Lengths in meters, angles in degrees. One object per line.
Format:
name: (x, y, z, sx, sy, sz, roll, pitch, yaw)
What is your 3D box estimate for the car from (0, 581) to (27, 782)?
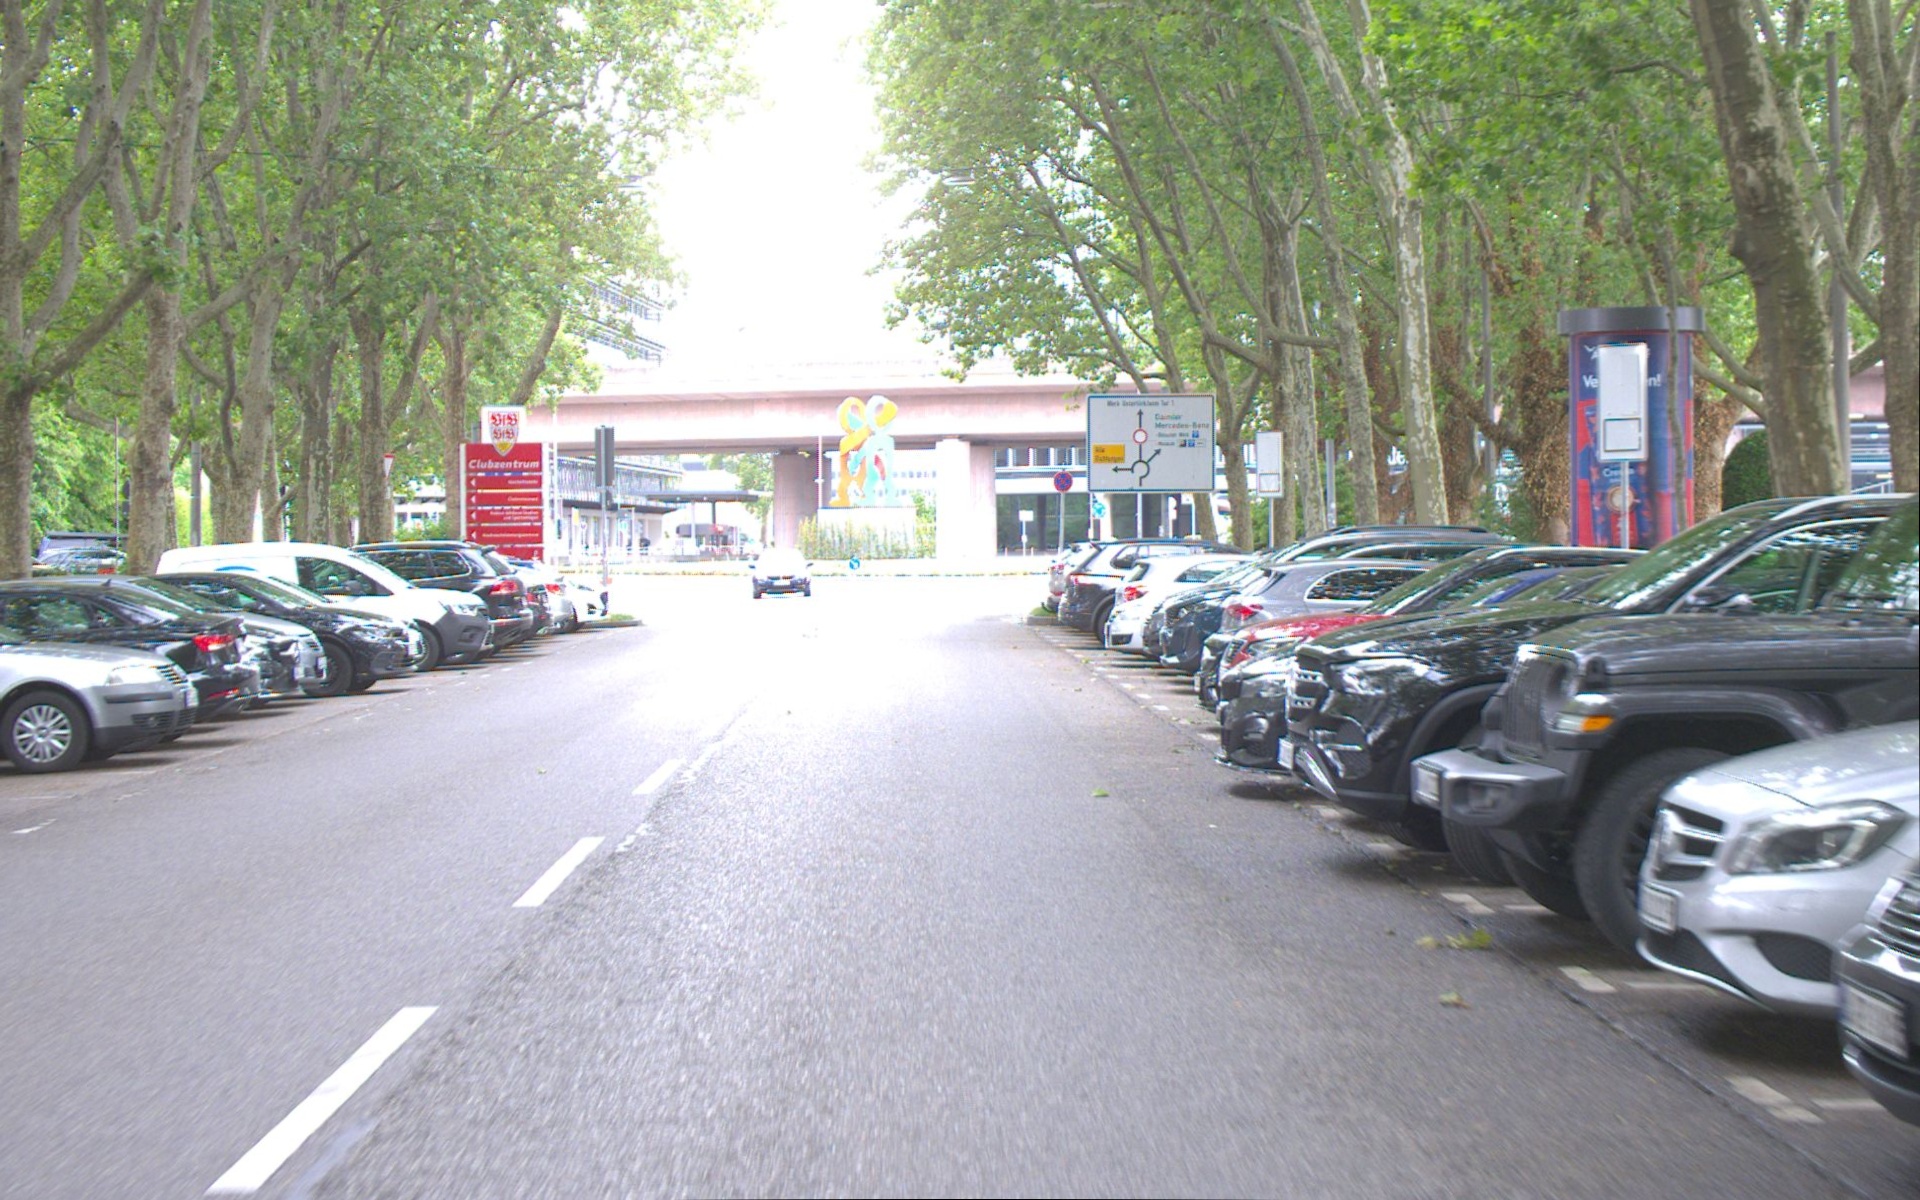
car: (-8.535, 0.629, 23.259, 3.930, 1.360, 1.827, -2, 1, -2)

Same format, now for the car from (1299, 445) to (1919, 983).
car: (3.718, 0.402, 13.179, 4.494, 1.860, 2.048, 1, 1, -4)

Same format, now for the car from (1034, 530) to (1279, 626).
car: (3.564, -0.417, 63.073, 4.346, 1.628, 1.926, 1, 1, 0)

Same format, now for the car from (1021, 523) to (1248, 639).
car: (3.157, -0.369, 62.844, 3.987, 2.007, 2.000, 1, 1, 0)

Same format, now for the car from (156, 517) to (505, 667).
car: (-8.308, -0.126, 45.677, 4.317, 1.804, 1.868, -2, 1, -4)

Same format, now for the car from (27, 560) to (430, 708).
car: (-8.022, 0.355, 37.926, 3.979, 1.416, 1.755, -2, 1, 3)

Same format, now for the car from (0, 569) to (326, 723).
car: (-8.597, 0.450, 33.391, 4.463, 1.343, 1.901, -2, 1, 1)

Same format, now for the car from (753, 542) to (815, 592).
car: (-5.430, -1.018, 106.411, 1.842, 1.504, 4.015, 0, 0, -2)

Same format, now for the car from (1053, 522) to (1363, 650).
car: (3.617, -0.214, 50.722, 4.346, 1.755, 1.926, 1, 1, -2)

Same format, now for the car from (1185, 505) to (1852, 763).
car: (4.109, 0.226, 25.754, 4.494, 1.790, 2.048, 1, 1, -7)

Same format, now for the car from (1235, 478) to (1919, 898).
car: (3.653, 0.378, 16.121, 4.495, 1.790, 2.048, 1, 1, -1)

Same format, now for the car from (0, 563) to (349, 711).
car: (-8.731, 0.384, 35.584, 4.463, 1.365, 1.880, -2, 1, -1)

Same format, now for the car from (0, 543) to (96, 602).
car: (-24.930, -0.733, 90.229, 3.987, 1.517, 2.002, 0, 0, 0)

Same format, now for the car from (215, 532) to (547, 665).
car: (-8.066, -0.031, 48.196, 4.317, 1.789, 2.037, 0, 0, 0)

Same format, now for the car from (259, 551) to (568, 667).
car: (-8.004, 0.115, 50.641, 4.129, 1.447, 2.013, -3, 1, 1)

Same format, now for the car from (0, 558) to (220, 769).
car: (-7.965, 0.502, 25.732, 4.463, 1.477, 1.703, -2, 1, -2)

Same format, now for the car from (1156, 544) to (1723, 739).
car: (3.965, 0.330, 28.871, 4.345, 1.497, 1.926, 1, 1, -6)

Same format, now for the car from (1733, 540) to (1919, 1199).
car: (4.109, 0.689, 7.918, 4.195, 1.513, 1.785, 2, 1, -1)

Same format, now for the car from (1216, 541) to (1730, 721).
car: (4.605, 0.260, 31.339, 4.346, 1.497, 1.926, 1, 1, -1)

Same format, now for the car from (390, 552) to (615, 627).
car: (-8.731, -0.201, 65.831, 3.994, 1.380, 1.911, 0, 0, 3)

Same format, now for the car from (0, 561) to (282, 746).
car: (-7.689, 0.446, 28.158, 3.930, 1.393, 1.703, -2, 1, -2)

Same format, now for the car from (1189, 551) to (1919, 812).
car: (3.708, 0.458, 20.804, 4.495, 1.423, 1.932, 1, 1, 0)

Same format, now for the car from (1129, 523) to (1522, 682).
car: (4.259, 0.010, 40.524, 4.346, 1.739, 1.837, 1, 1, -2)

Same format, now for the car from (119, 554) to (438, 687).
car: (-8.499, 0.234, 42.981, 3.781, 1.467, 1.765, -2, 1, -11)

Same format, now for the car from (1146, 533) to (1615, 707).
car: (4.250, 0.180, 35.305, 4.591, 1.633, 1.872, 1, 1, 1)

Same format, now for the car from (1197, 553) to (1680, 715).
car: (4.534, 0.307, 33.083, 4.346, 1.408, 1.926, 1, 1, 0)

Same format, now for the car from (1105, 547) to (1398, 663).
car: (3.838, 0.055, 45.589, 3.639, 1.422, 1.666, 1, 1, -3)

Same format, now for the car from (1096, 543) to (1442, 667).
car: (3.824, 0.048, 43.030, 4.148, 1.453, 1.727, 1, 1, 0)

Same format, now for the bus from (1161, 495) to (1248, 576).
bus: (10.652, -2.804, 148.950, 2.334, 3.387, 10.014, 0, 1, 13)

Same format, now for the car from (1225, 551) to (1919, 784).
car: (4.106, 0.426, 23.171, 4.495, 1.415, 1.829, 1, 1, 1)

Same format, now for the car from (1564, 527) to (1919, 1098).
car: (4.263, 0.609, 10.502, 4.495, 1.566, 2.047, 1, 1, 3)

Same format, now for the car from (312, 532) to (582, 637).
car: (-8.635, -0.272, 58.159, 4.263, 1.543, 1.908, -3, 1, -2)
